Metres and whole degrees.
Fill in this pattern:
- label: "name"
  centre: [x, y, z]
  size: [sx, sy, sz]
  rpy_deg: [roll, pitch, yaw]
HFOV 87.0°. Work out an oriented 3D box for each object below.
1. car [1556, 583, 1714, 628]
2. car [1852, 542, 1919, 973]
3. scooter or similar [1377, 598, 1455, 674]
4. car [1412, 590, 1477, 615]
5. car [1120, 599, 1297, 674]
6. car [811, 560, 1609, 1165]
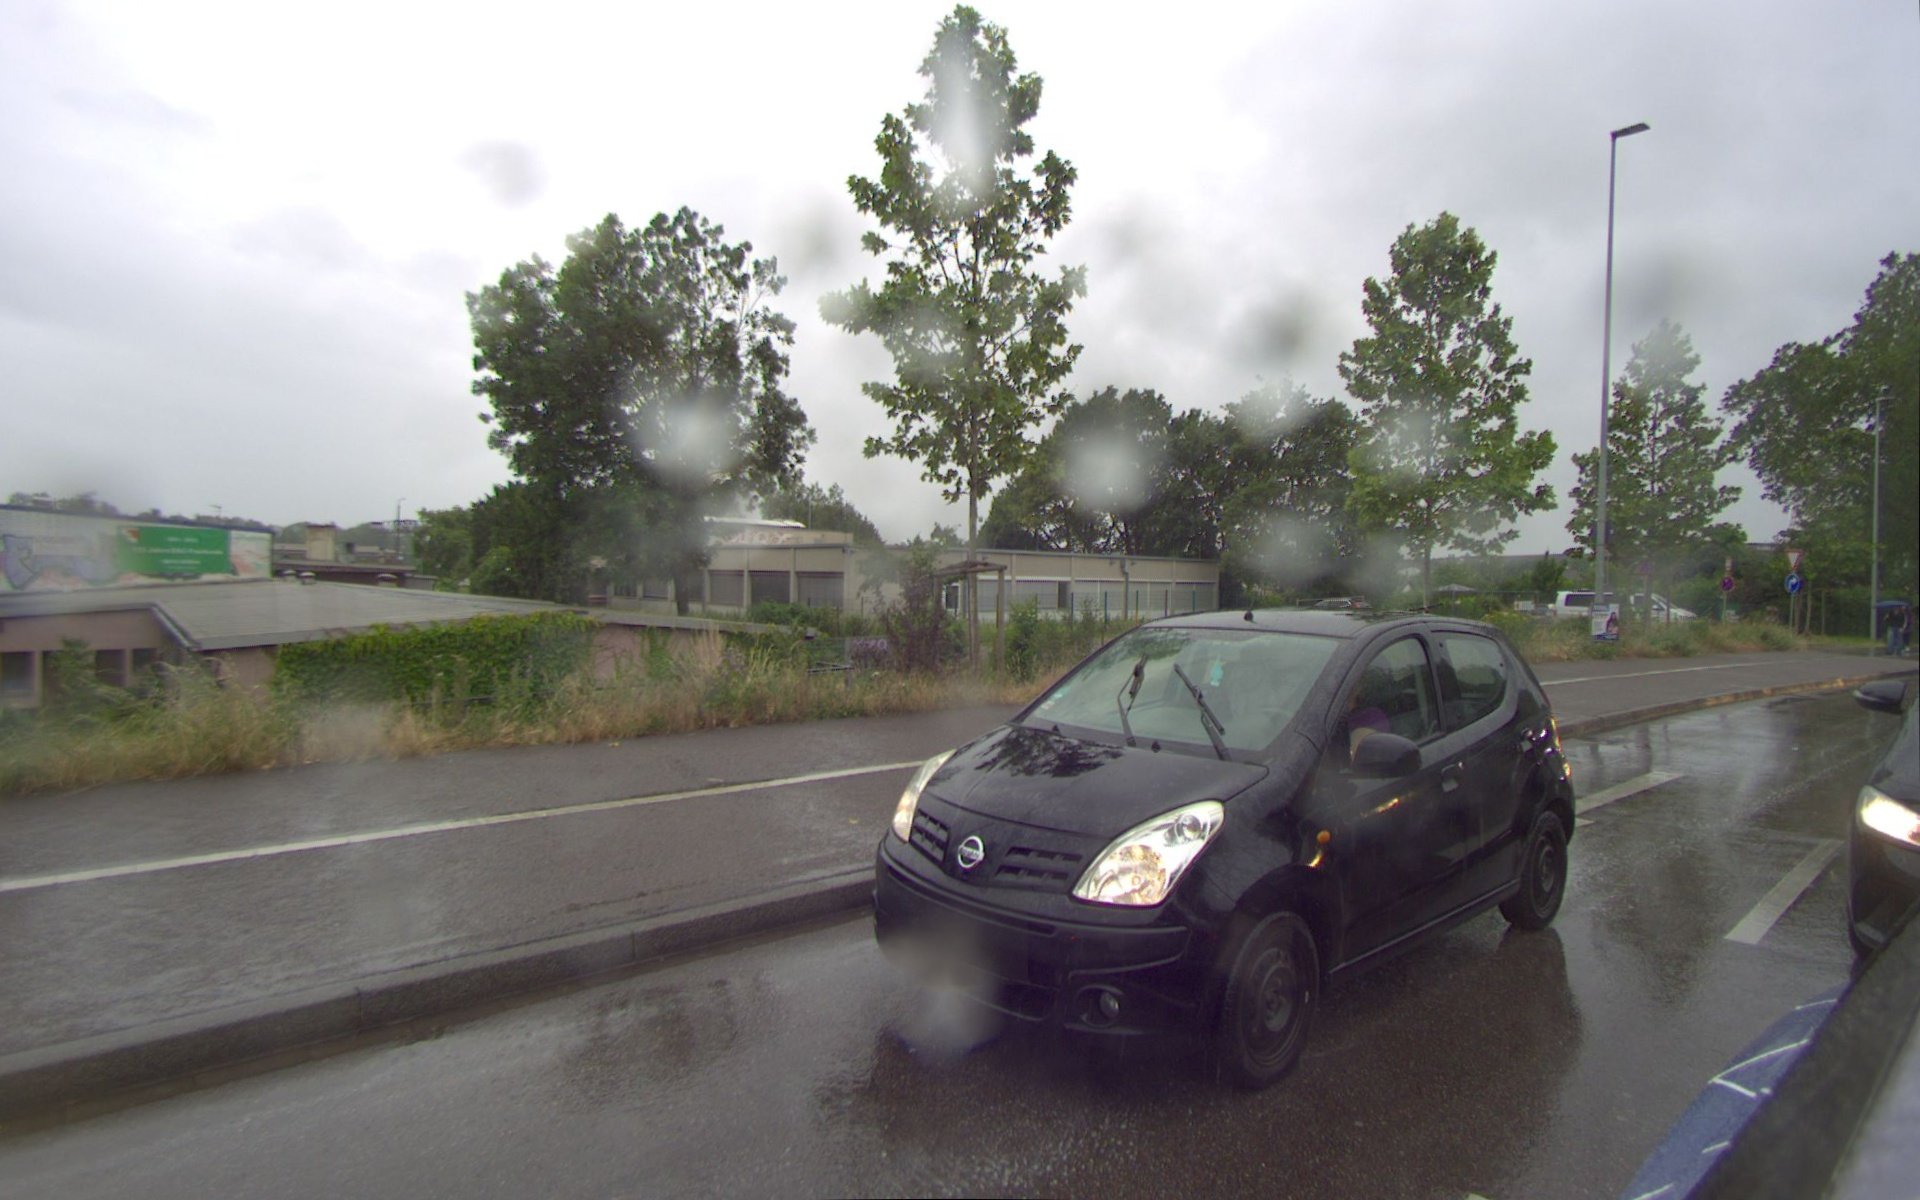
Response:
- label: "car"
  centre: [28.189, 0.210, 42.417]
  size: [1.972, 1.747, 5.168]
  rpy_deg: [0, 0, -42]
- label: "car"
  centre: [5.608, 0.610, 4.462]
  size: [4.091, 1.601, 1.759]
  rpy_deg: [1, 0, -37]
- label: "scooter or similar"
  centre: [7.681, 0.581, 17.009]
  size: [1.877, 1.214, 0.367]
  rpy_deg: [0, 0, -38]
- label: "car"
  centre: [30.943, 0.157, 64.687]
  size: [1.319, 1.604, 3.555]
  rpy_deg: [0, 0, -35]
- label: "car"
  centre: [4.700, 0.640, 19.493]
  size: [1.319, 1.304, 3.246]
  rpy_deg: [0, 0, -35]
- label: "car"
  centre: [1.296, 0.662, 4.324]
  size: [3.554, 1.528, 1.556]
  rpy_deg: [0, 0, -41]
